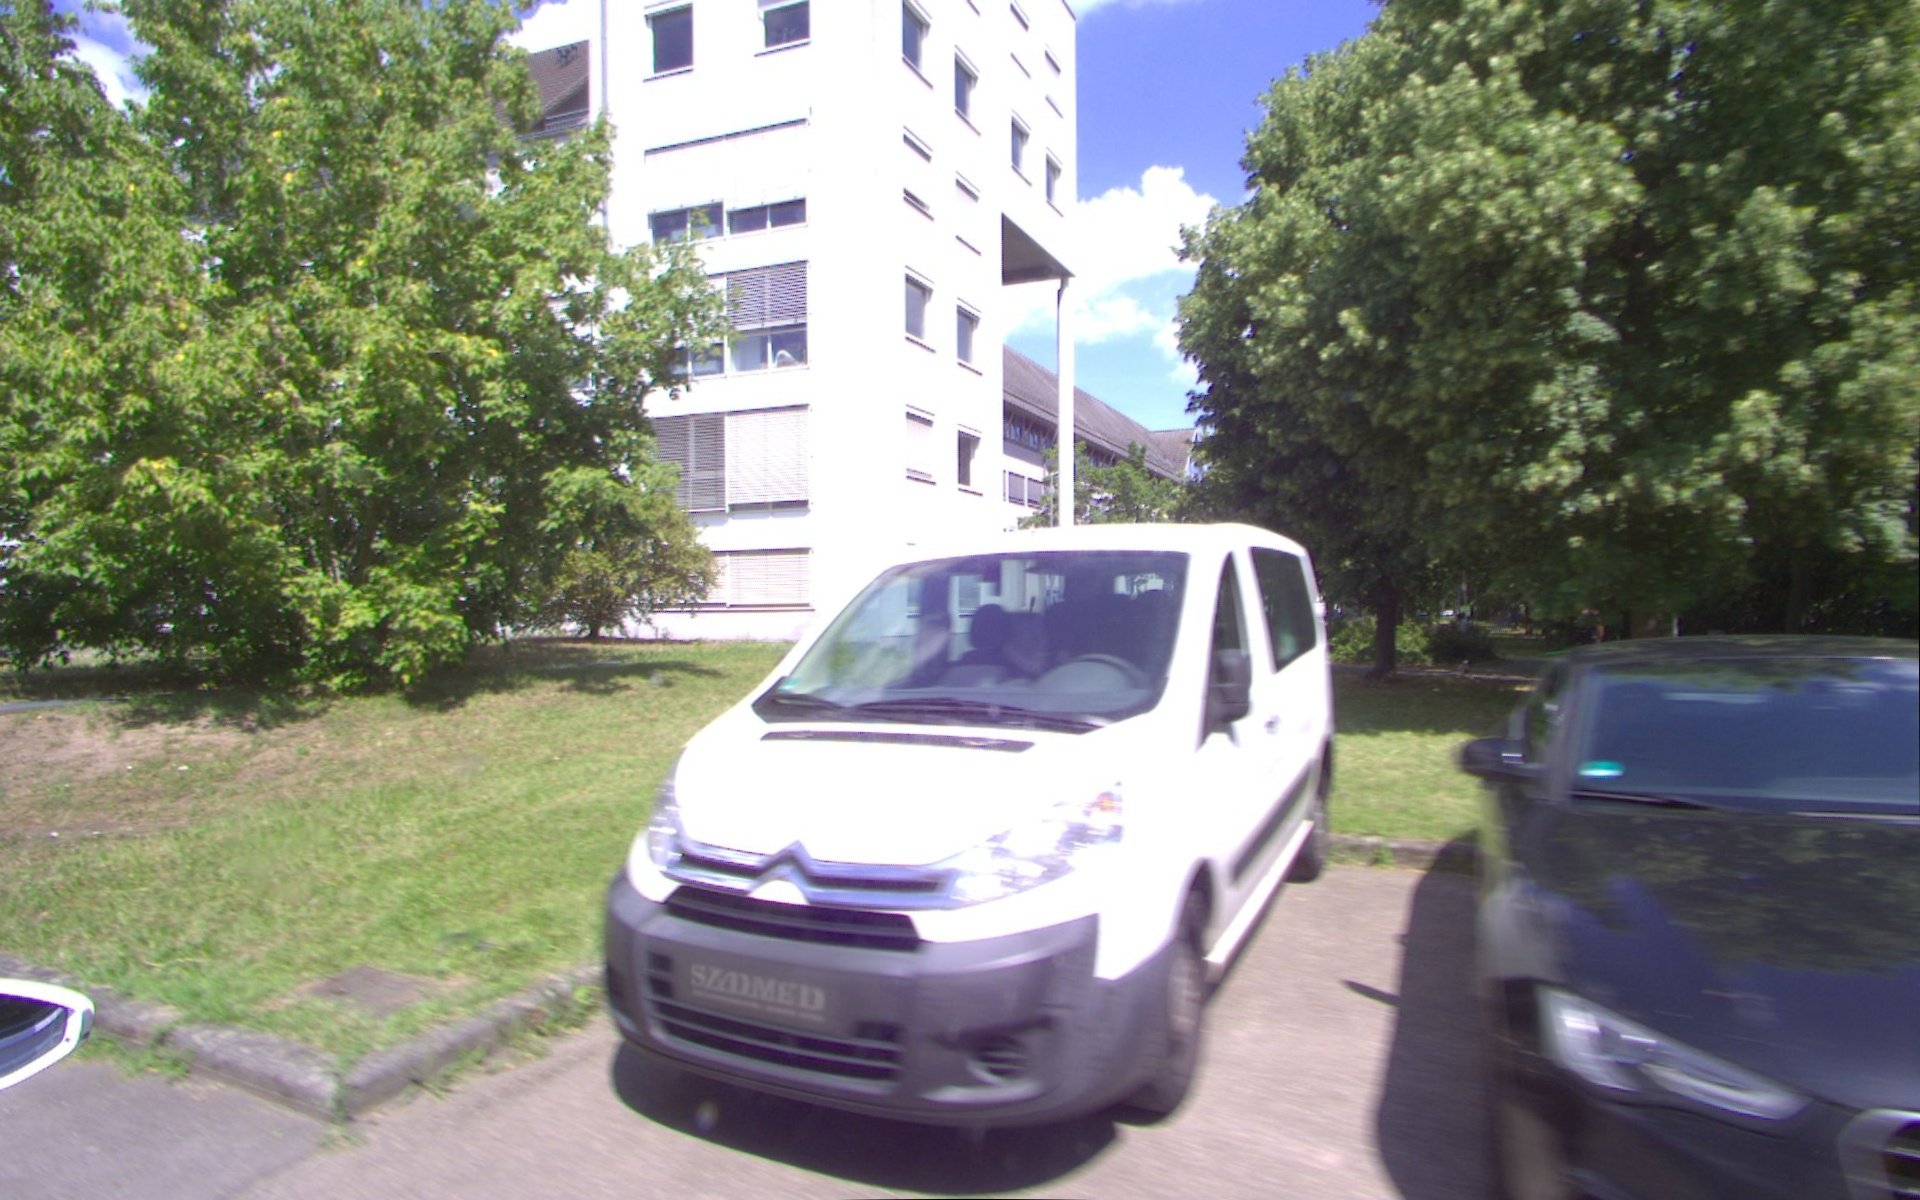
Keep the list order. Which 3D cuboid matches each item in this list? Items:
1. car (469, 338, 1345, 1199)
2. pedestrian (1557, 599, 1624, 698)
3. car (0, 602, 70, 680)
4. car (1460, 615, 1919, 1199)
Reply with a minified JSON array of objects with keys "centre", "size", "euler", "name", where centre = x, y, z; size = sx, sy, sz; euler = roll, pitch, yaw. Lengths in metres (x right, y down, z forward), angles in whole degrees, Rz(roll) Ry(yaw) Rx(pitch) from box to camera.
[{"centre":[0.489,0.509,4.647],"size":[1.968,2.040,4.757],"euler":[0,0,27],"name":"car"},{"centre":[10.358,0.775,16.475],"size":[0.727,1.585,0.749],"euler":[0,1,16],"name":"pedestrian"},{"centre":[-19.776,0.797,18.958],"size":[1.775,1.498,3.987],"euler":[0,0,25],"name":"car"},{"centre":[2.711,0.762,3.353],"size":[1.804,1.370,4.610],"euler":[0,0,26],"name":"car"}]
